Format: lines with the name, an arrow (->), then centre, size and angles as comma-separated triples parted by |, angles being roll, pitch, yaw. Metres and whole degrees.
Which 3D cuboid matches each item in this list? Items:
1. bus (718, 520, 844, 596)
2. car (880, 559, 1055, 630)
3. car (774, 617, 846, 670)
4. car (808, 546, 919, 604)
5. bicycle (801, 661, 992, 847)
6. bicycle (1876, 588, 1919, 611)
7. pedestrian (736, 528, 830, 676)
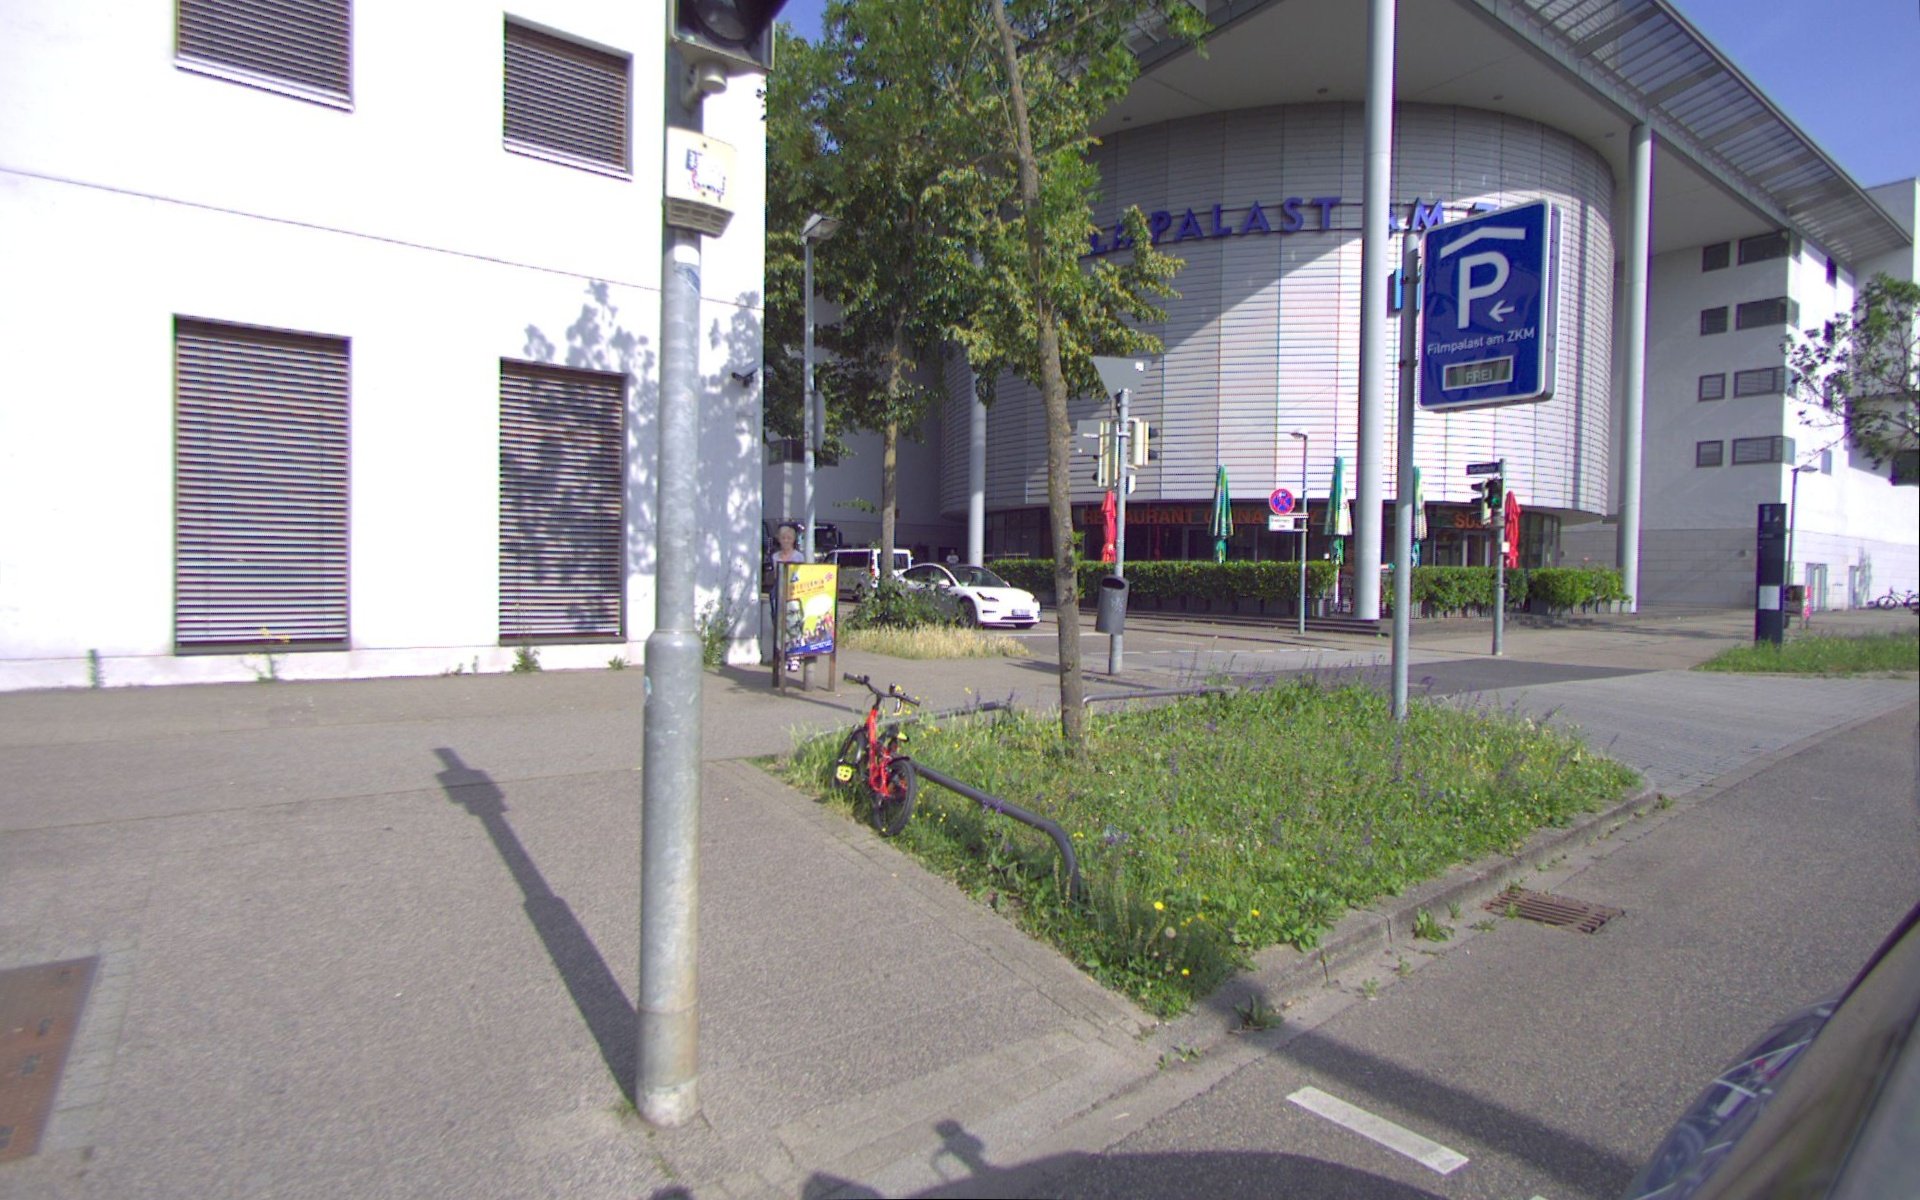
bus -> -8.349, -1.916, 46.393 | 2.442, 3.187, 7.844 | -1, 2, -37
car -> 0.065, -0.174, 23.605 | 1.866, 1.483, 4.334 | 1, 2, -36
car -> -1.854, 0.523, 12.522 | 0.495, 0.595, 0.758 | 2, 1, 36
car -> -3.697, -0.963, 37.993 | 2.030, 2.038, 4.899 | -1, 2, -34
bicycle -> -0.387, 0.773, 5.474 | 0.510, 0.639, 1.278 | 0, 8, -29
bicycle -> 46.505, -0.025, 49.802 | 0.662, 1.116, 2.017 | 0, 1, -31
pedestrian -> -2.039, 0.005, 11.689 | 0.709, 1.636, 0.769 | 2, 1, 36
